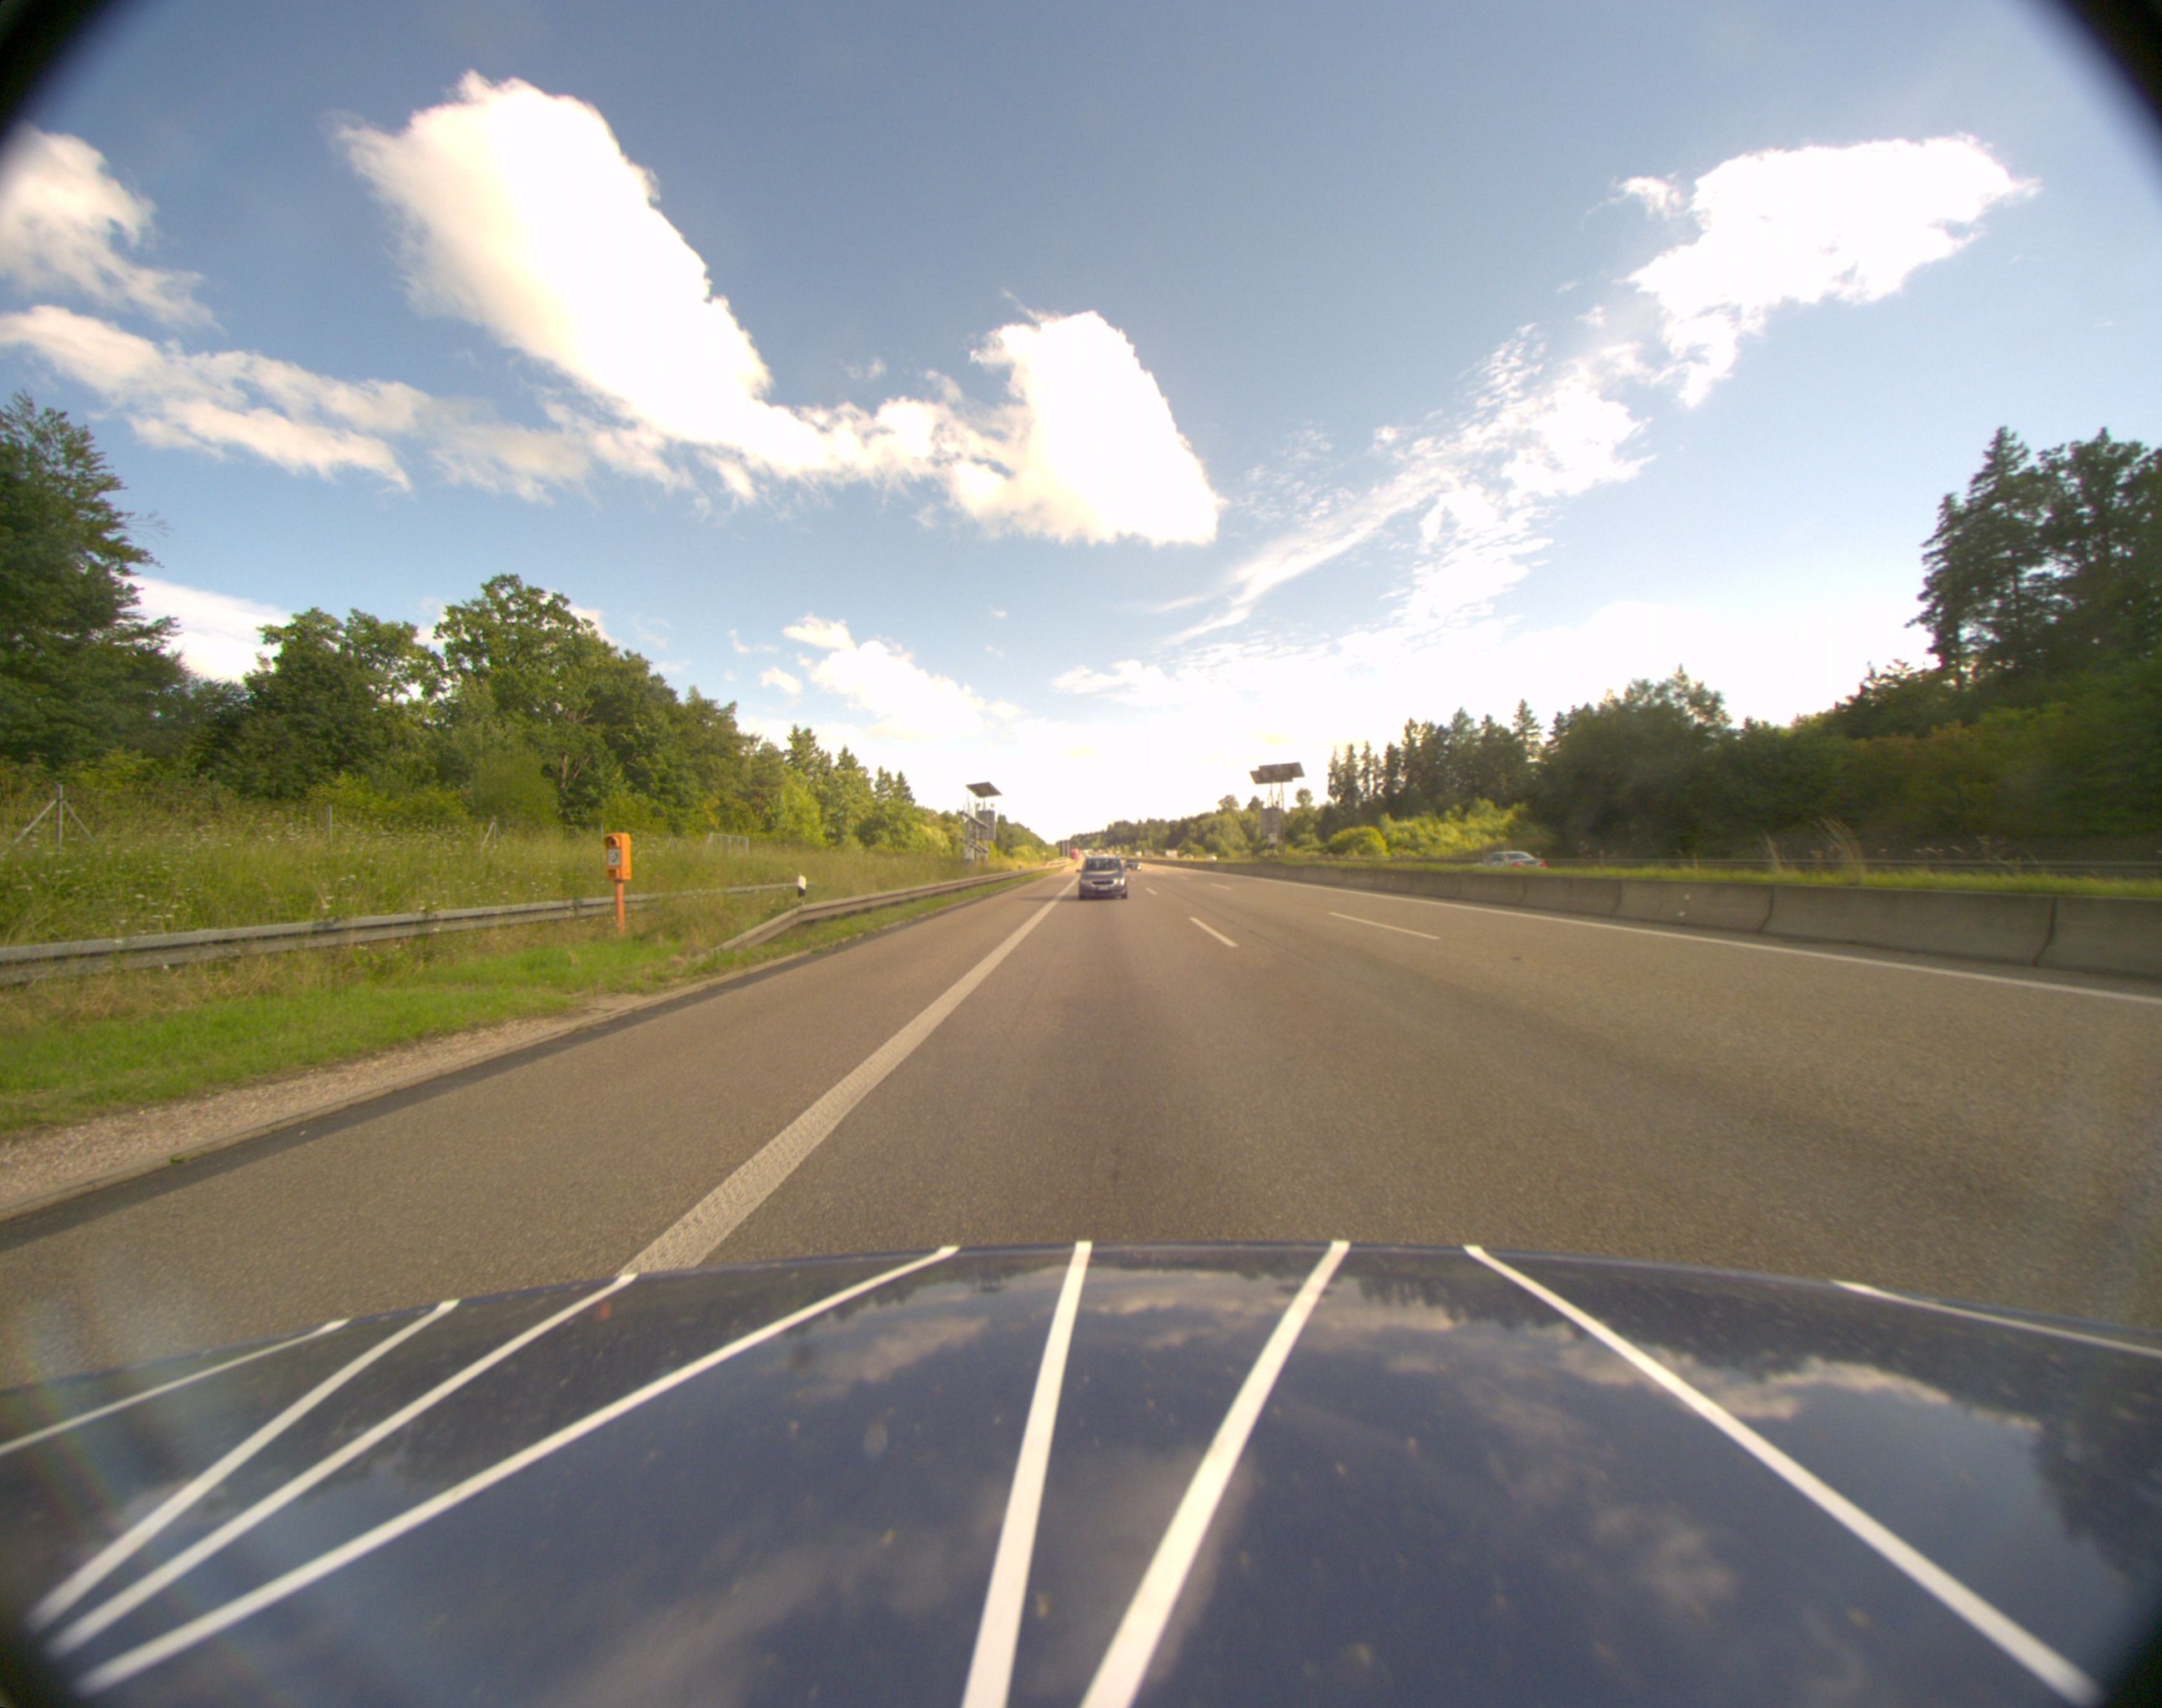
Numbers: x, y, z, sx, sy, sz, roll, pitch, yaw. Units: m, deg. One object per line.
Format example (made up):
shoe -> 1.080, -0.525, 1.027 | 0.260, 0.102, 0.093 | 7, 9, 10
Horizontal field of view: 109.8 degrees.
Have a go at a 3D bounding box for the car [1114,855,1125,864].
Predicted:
car -> 7.230, 0.997, 142.406 | 1.961, 1.608, 4.388 | -2, 0, 2

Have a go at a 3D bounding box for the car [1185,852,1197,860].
car -> 23.587, 0.412, 163.014 | 1.929, 1.795, 4.493 | -2, 0, 2

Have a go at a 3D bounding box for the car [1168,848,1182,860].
car -> 19.959, 0.009, 161.608 | 2.585, 2.332, 5.829 | -2, 0, 2

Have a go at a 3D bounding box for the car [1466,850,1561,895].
car -> 20.105, 0.815, 35.523 | 1.931, 1.894, 4.430 | -2, 0, 1

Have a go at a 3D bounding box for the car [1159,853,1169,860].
car -> 26.070, 0.902, 239.745 | 2.585, 2.126, 5.966 | -2, 0, 2

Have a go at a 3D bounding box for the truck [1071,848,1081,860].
truck -> -1.545, 0.045, 246.848 | 2.880, 3.871, 8.959 | -2, 0, 1

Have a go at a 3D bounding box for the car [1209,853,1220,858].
car -> 26.972, 0.269, 153.534 | 1.595, 1.087, 3.173 | -2, 0, 2

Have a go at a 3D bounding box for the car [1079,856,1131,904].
car -> 0.911, 0.891, 28.297 | 1.741, 1.608, 4.083 | -2, 0, 2

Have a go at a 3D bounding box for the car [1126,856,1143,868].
car -> 5.913, 0.841, 83.884 | 1.748, 1.276, 4.199 | -2, 0, 2
